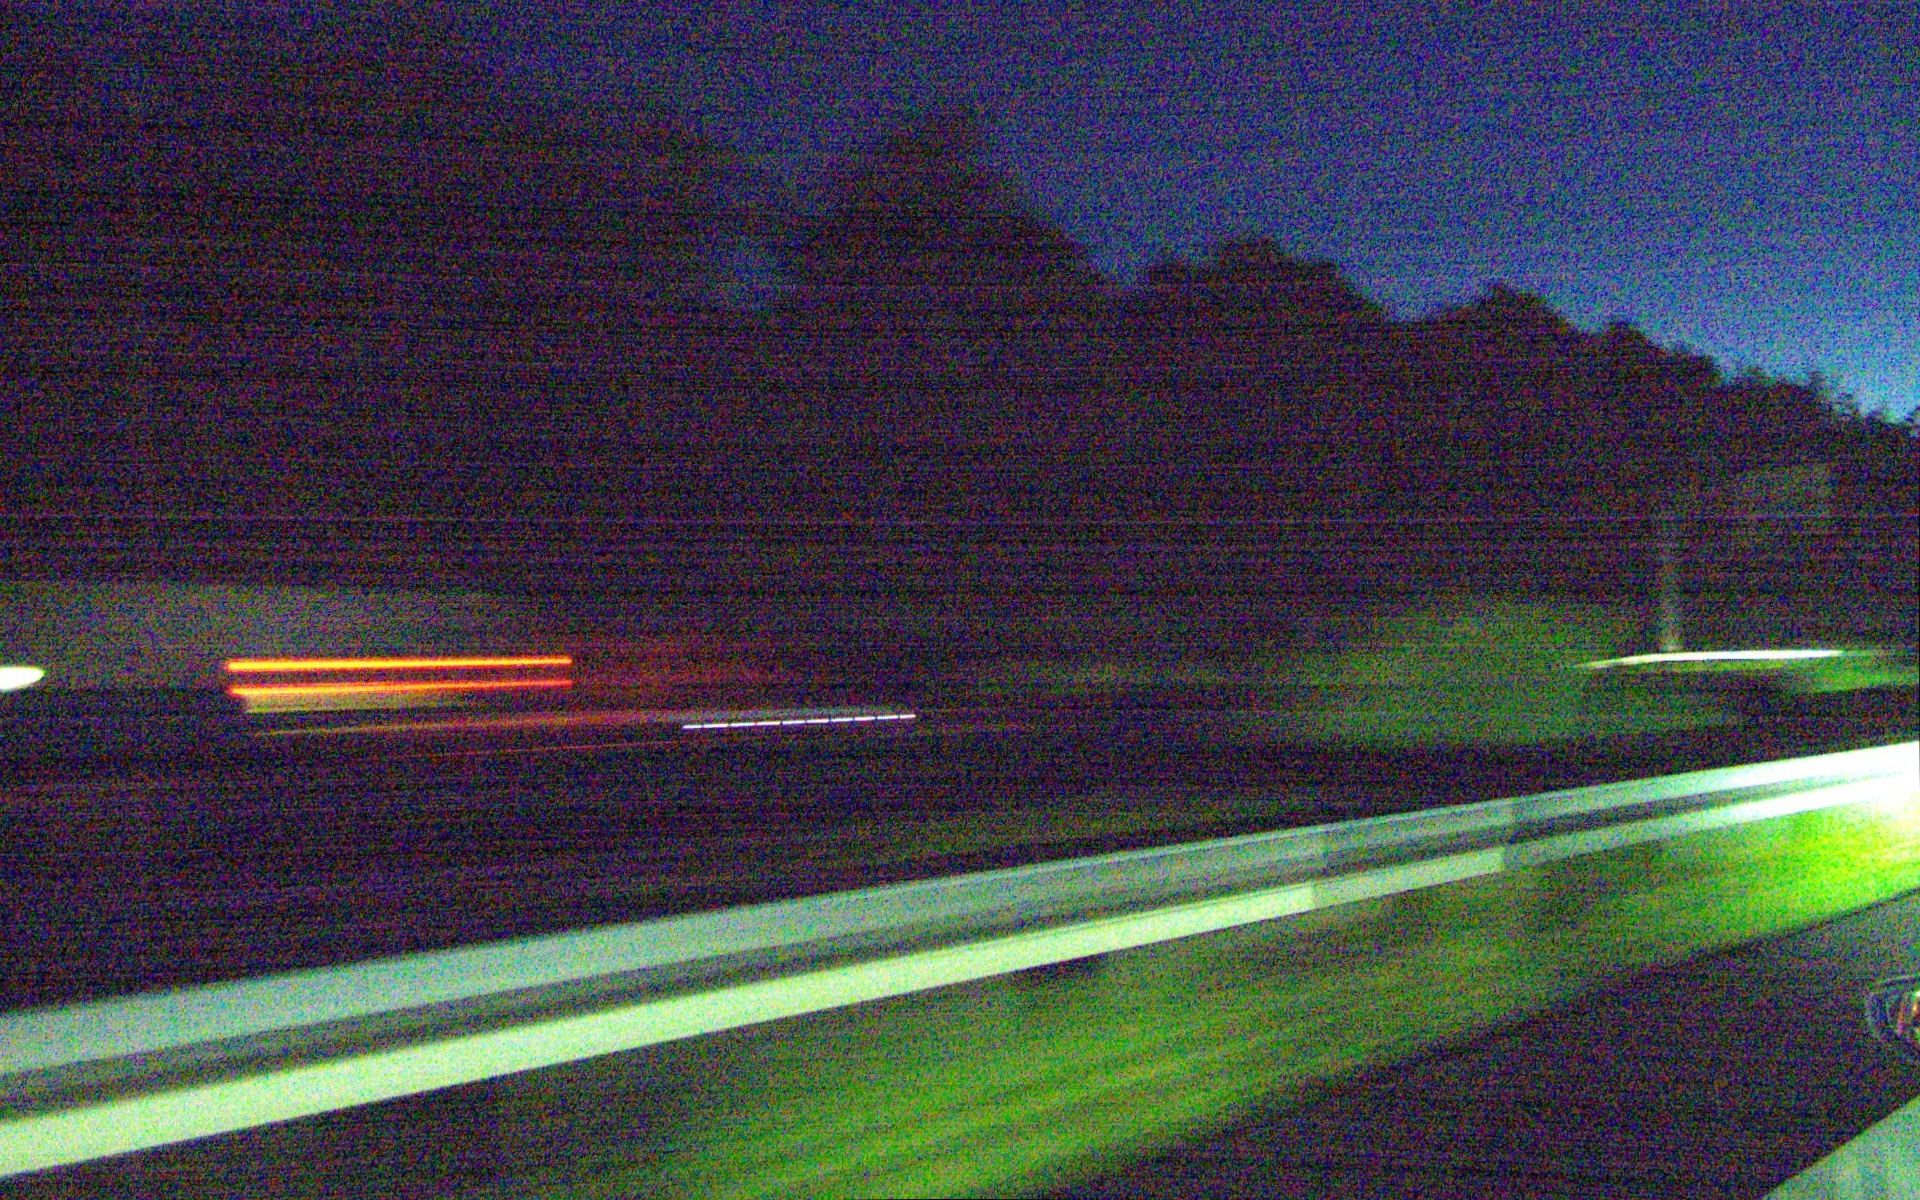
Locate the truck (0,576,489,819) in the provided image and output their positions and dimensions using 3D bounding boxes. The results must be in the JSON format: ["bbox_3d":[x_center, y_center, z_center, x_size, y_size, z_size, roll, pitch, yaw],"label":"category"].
[{"bbox_3d":[-7.416,0.852,9.519,5.179,1.967,1.984,2,-3,-30],"label":"truck"}]

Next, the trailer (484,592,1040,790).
[{"bbox_3d":[-2.250,1.006,12.541,6.544,1.965,1.984,1,-2,-30],"label":"trailer"}]
